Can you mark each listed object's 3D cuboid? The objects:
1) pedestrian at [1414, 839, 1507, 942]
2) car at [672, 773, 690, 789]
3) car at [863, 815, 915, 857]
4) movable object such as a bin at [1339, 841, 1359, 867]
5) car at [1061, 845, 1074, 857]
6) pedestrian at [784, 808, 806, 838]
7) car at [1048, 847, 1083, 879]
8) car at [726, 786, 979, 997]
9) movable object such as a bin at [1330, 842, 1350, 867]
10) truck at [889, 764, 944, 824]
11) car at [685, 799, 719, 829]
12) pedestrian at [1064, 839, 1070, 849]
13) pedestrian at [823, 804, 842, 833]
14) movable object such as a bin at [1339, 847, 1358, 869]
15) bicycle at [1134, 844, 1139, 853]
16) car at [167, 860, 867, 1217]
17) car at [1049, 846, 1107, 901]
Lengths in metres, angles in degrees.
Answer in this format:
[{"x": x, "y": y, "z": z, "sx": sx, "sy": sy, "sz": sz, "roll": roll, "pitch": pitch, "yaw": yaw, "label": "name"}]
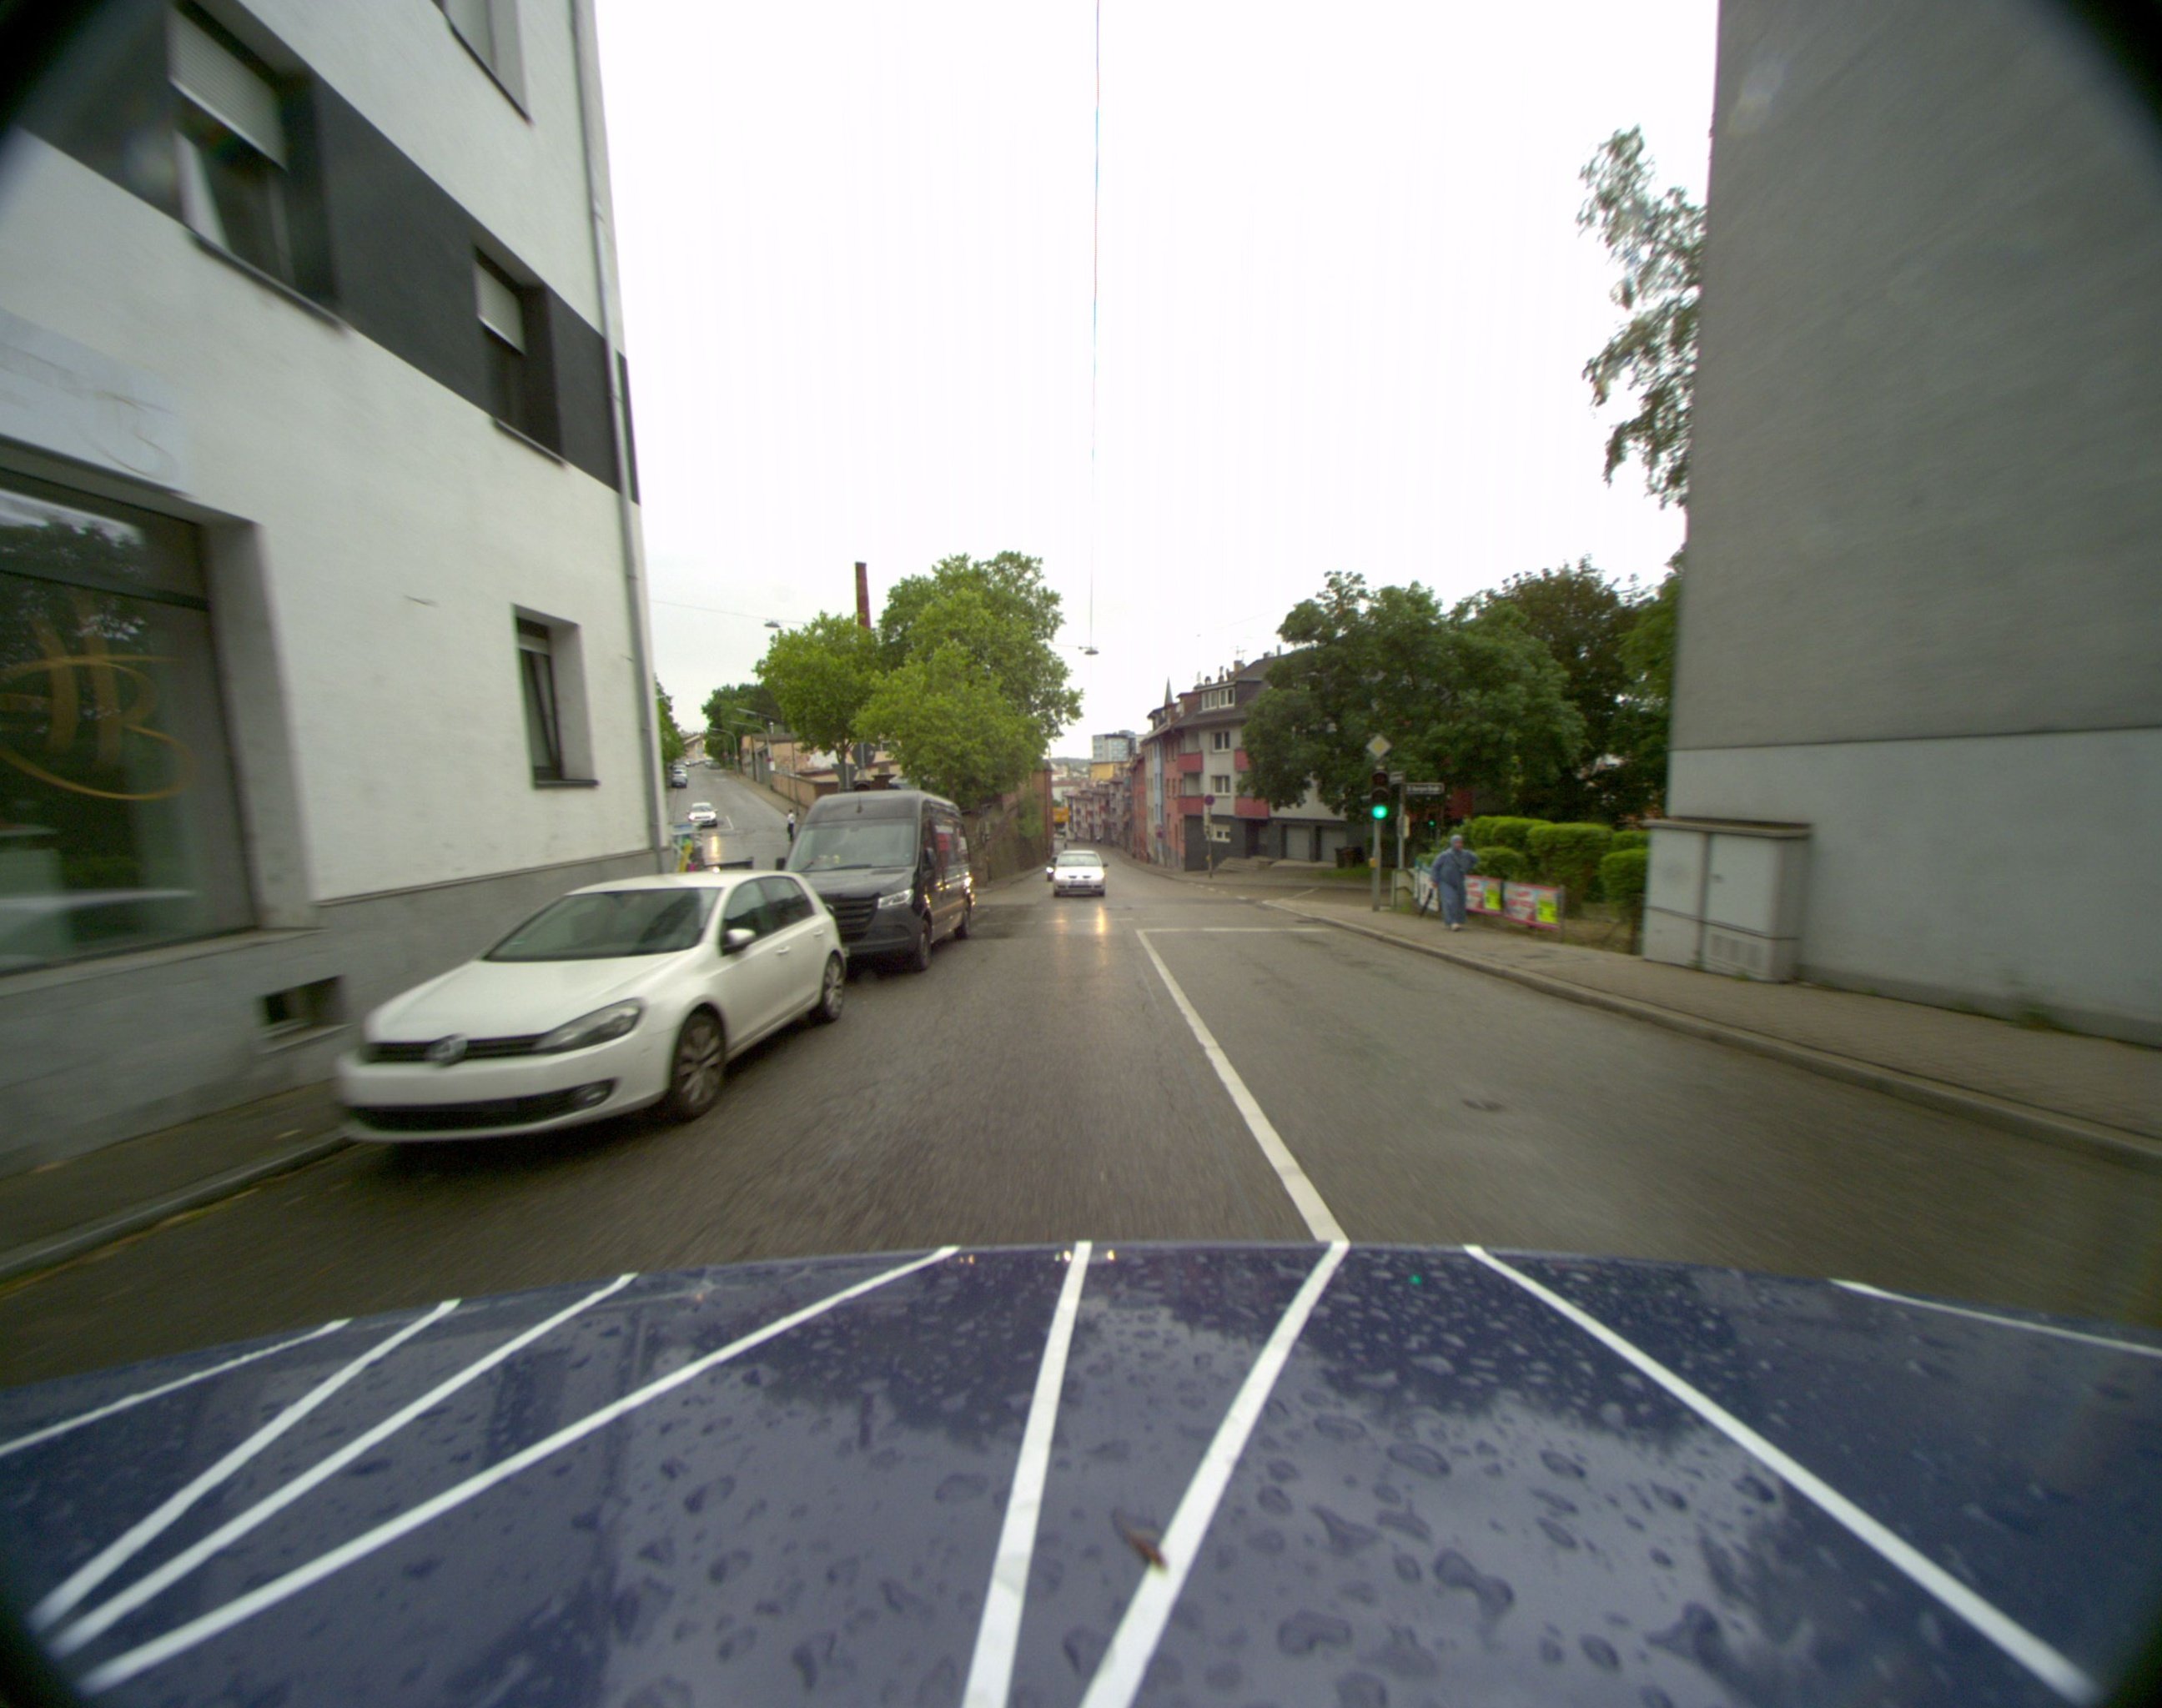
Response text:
[{"x": 6.110, "y": 0.557, "z": 12.281, "sx": 0.871, "sy": 1.532, "sz": 1.087, "roll": -3, "pitch": 1, "yaw": -2, "label": "pedestrian"}, {"x": -49.557, "y": -9.045, "z": 94.176, "sx": 1.736, "sy": 1.633, "sz": 3.986, "roll": -6, "pitch": 12, "yaw": -26, "label": "car"}, {"x": -9.679, "y": -0.960, "z": 38.647, "sx": 1.635, "sy": 1.486, "sz": 4.339, "roll": -3, "pitch": 9, "yaw": -2, "label": "car"}, {"x": 13.165, "y": -0.012, "z": 37.336, "sx": 0.562, "sy": 1.193, "sz": 0.687, "roll": -5, "pitch": 3, "yaw": -25, "label": "movable object such as a bin"}, {"x": -1.771, "y": -0.398, "z": 99.716, "sx": 1.637, "sy": 1.521, "sz": 3.999, "roll": -3, "pitch": 0, "yaw": 0, "label": "car"}, {"x": -16.078, "y": -1.724, "z": 42.734, "sx": 0.873, "sy": 1.668, "sz": 0.779, "roll": 0, "pitch": 3, "yaw": 3, "label": "pedestrian"}, {"x": -0.872, "y": 0.502, "z": 44.654, "sx": 1.719, "sy": 1.528, "sz": 3.998, "roll": -3, "pitch": 3, "yaw": 2, "label": "car"}, {"x": -3.084, "y": 0.327, "z": 11.907, "sx": 1.998, "sy": 2.401, "sz": 5.833, "roll": -3, "pitch": 3, "yaw": 1, "label": "car"}, {"x": 12.645, "y": 0.030, "z": 37.065, "sx": 0.562, "sy": 1.193, "sz": 0.687, "roll": -5, "pitch": 3, "yaw": -25, "label": "movable object such as a bin"}, {"x": -12.054, "y": -4.662, "z": 56.510, "sx": 2.756, "sy": 3.296, "sz": 11.202, "roll": 0, "pitch": 10, "yaw": -6, "label": "truck"}, {"x": -25.519, "y": -2.747, "z": 51.152, "sx": 1.827, "sy": 1.512, "sz": 3.986, "roll": -5, "pitch": 11, "yaw": -26, "label": "car"}, {"x": -2.365, "y": -1.729, "z": 129.563, "sx": 0.871, "sy": 1.532, "sz": 1.087, "roll": -3, "pitch": 0, "yaw": -2, "label": "pedestrian"}, {"x": -14.535, "y": -2.083, "z": 44.374, "sx": 0.875, "sy": 1.668, "sz": 0.777, "roll": -2, "pitch": 4, "yaw": -30, "label": "pedestrian"}, {"x": 12.844, "y": 0.198, "z": 36.462, "sx": 0.630, "sy": 1.010, "sz": 0.499, "roll": -5, "pitch": 3, "yaw": -25, "label": "movable object such as a bin"}, {"x": 7.525, "y": -0.701, "z": 103.014, "sx": 0.572, "sy": 1.111, "sz": 2.039, "roll": -4, "pitch": 2, "yaw": 1, "label": "bicycle"}, {"x": -3.311, "y": 0.911, "z": 5.816, "sx": 1.998, "sy": 1.503, "sz": 4.336, "roll": -3, "pitch": 1, "yaw": 1, "label": "car"}, {"x": -0.095, "y": 0.588, "z": 25.961, "sx": 1.720, "sy": 1.528, "sz": 3.998, "roll": -3, "pitch": 3, "yaw": 0, "label": "car"}]
